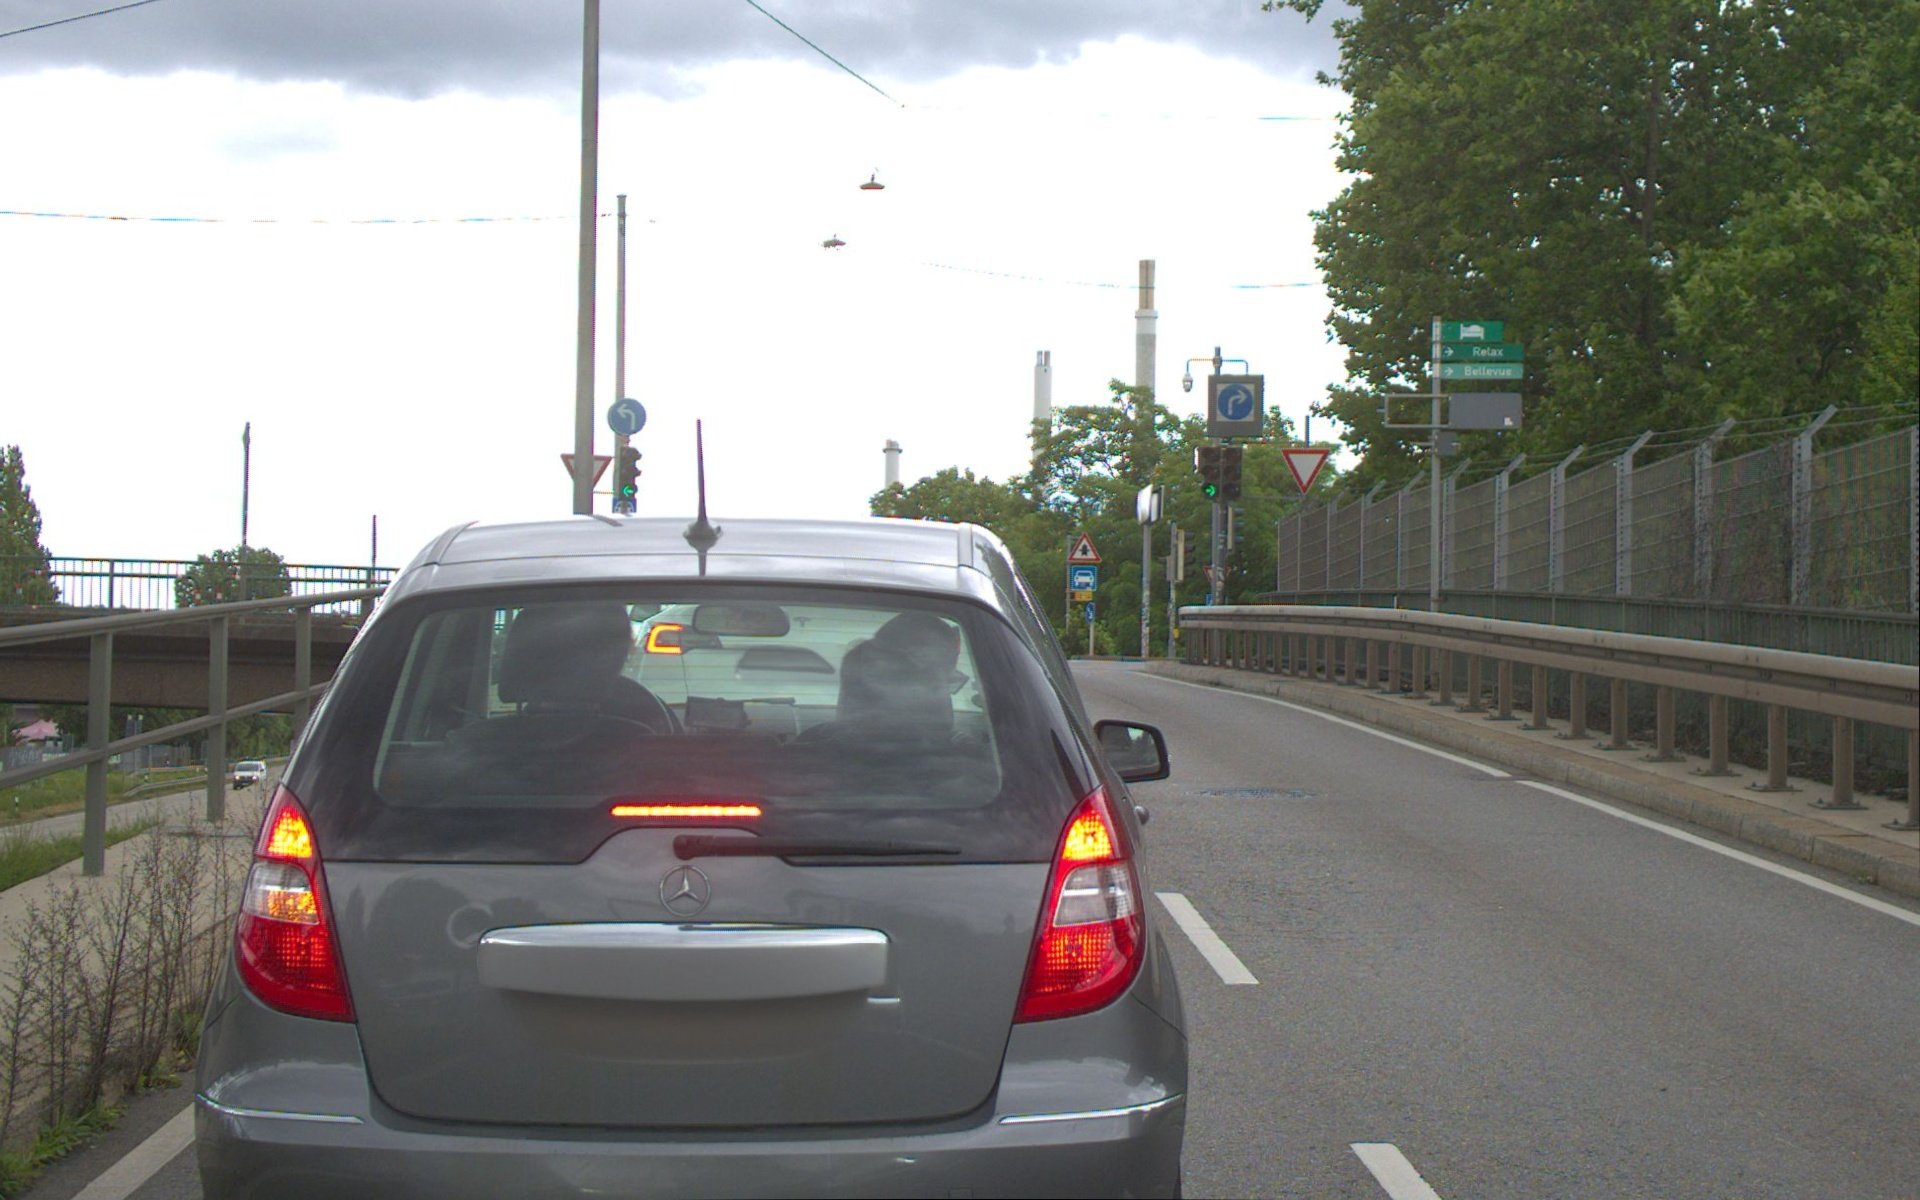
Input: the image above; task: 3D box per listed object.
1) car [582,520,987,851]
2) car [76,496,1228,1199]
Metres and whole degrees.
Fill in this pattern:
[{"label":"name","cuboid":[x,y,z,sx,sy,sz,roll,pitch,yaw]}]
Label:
[{"label":"car","cuboid":[-0.896,0.376,18.961,1.993,1.597,4.001,0,2,-1]},{"label":"car","cuboid":[-0.344,0.573,7.497,1.750,1.575,4.084,0,1,6]}]
